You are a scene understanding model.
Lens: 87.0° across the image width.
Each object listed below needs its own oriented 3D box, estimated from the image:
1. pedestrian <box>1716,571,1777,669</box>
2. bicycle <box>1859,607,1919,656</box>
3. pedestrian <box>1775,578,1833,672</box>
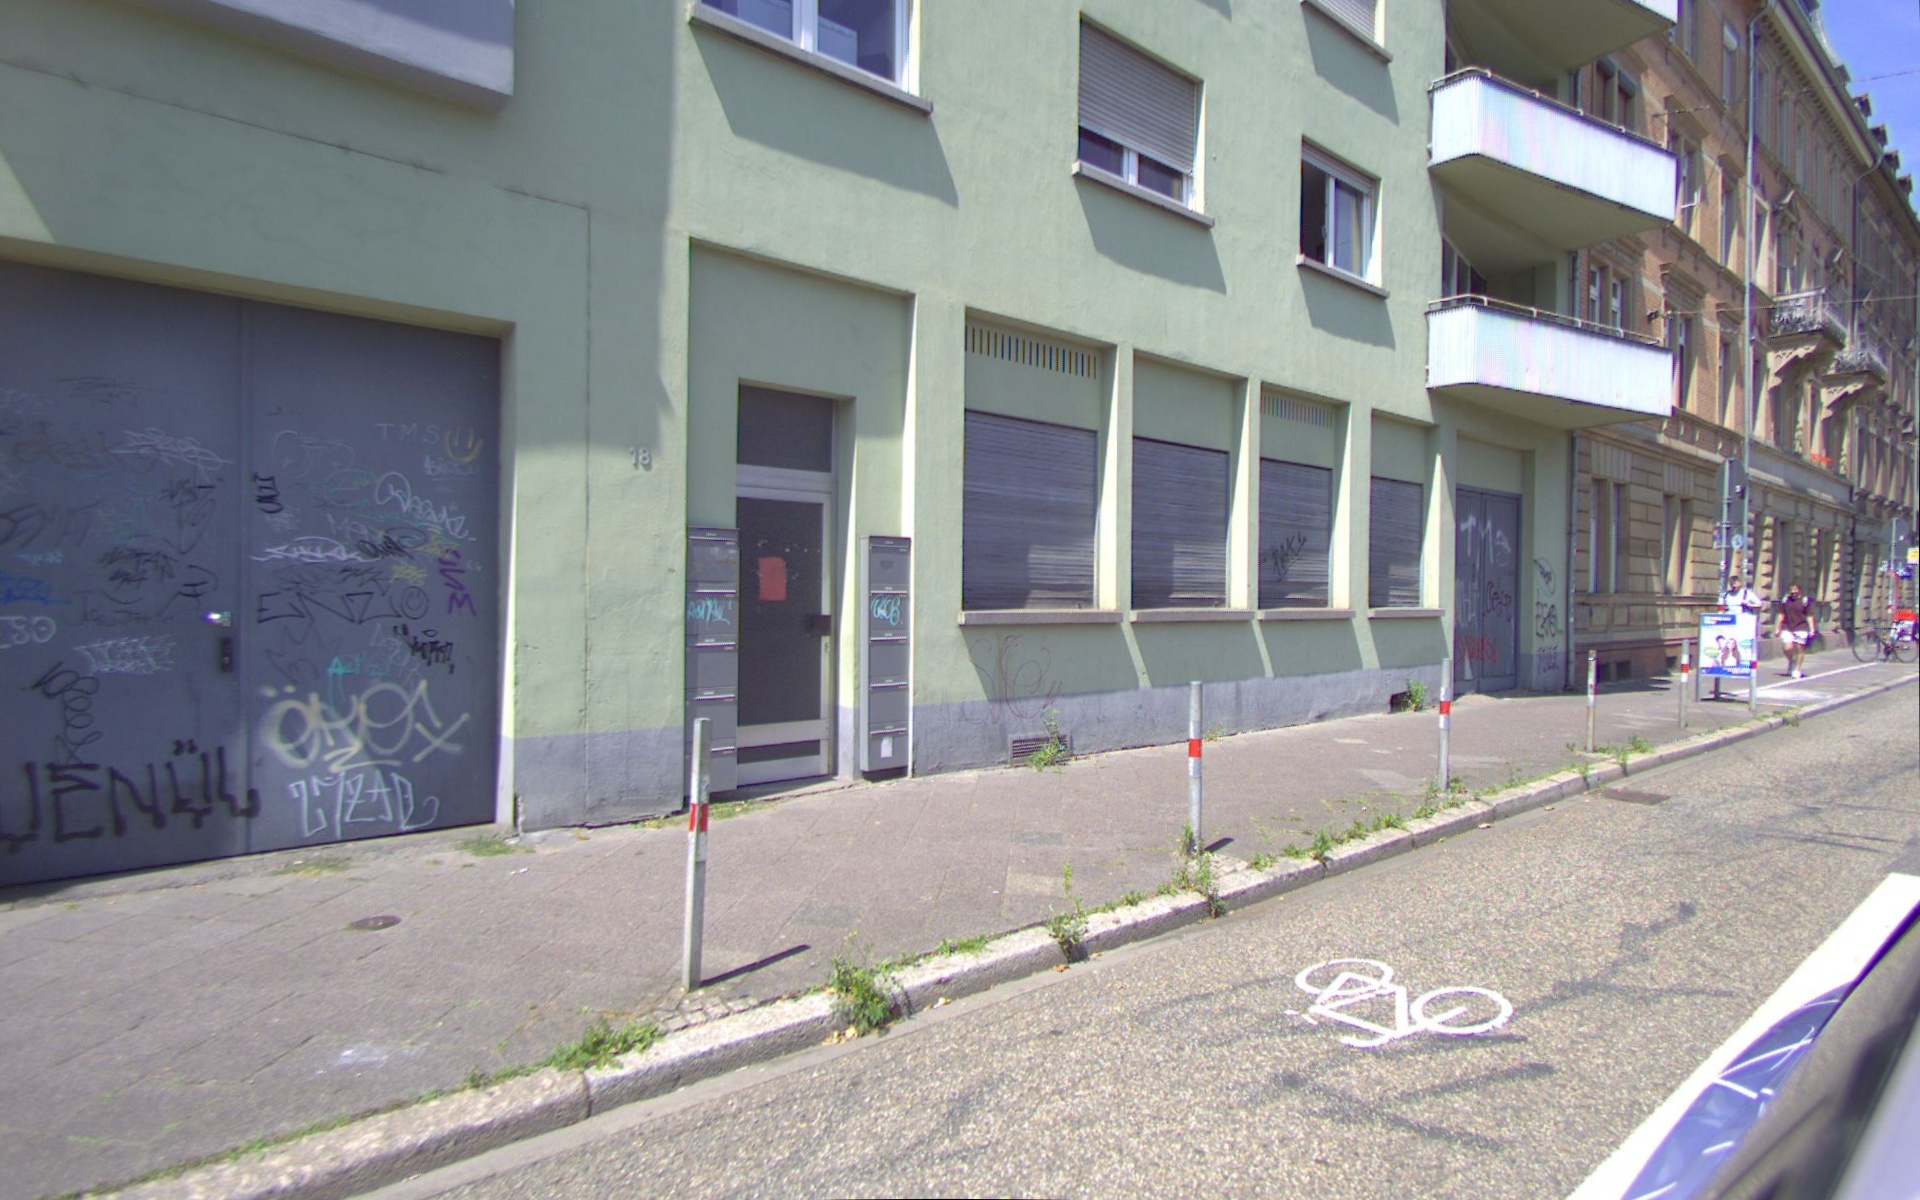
[{"bbox_3d":[15.601,0.379,20.084,0.632,1.871,0.704,0,4,-38],"label":"pedestrian"},{"bbox_3d":[22.557,0.745,24.055,2.196,1.145,0.501,1,1,-11],"label":"bicycle"},{"bbox_3d":[16.096,0.460,19.296,0.632,1.741,0.722,0,1,-38],"label":"pedestrian"}]
